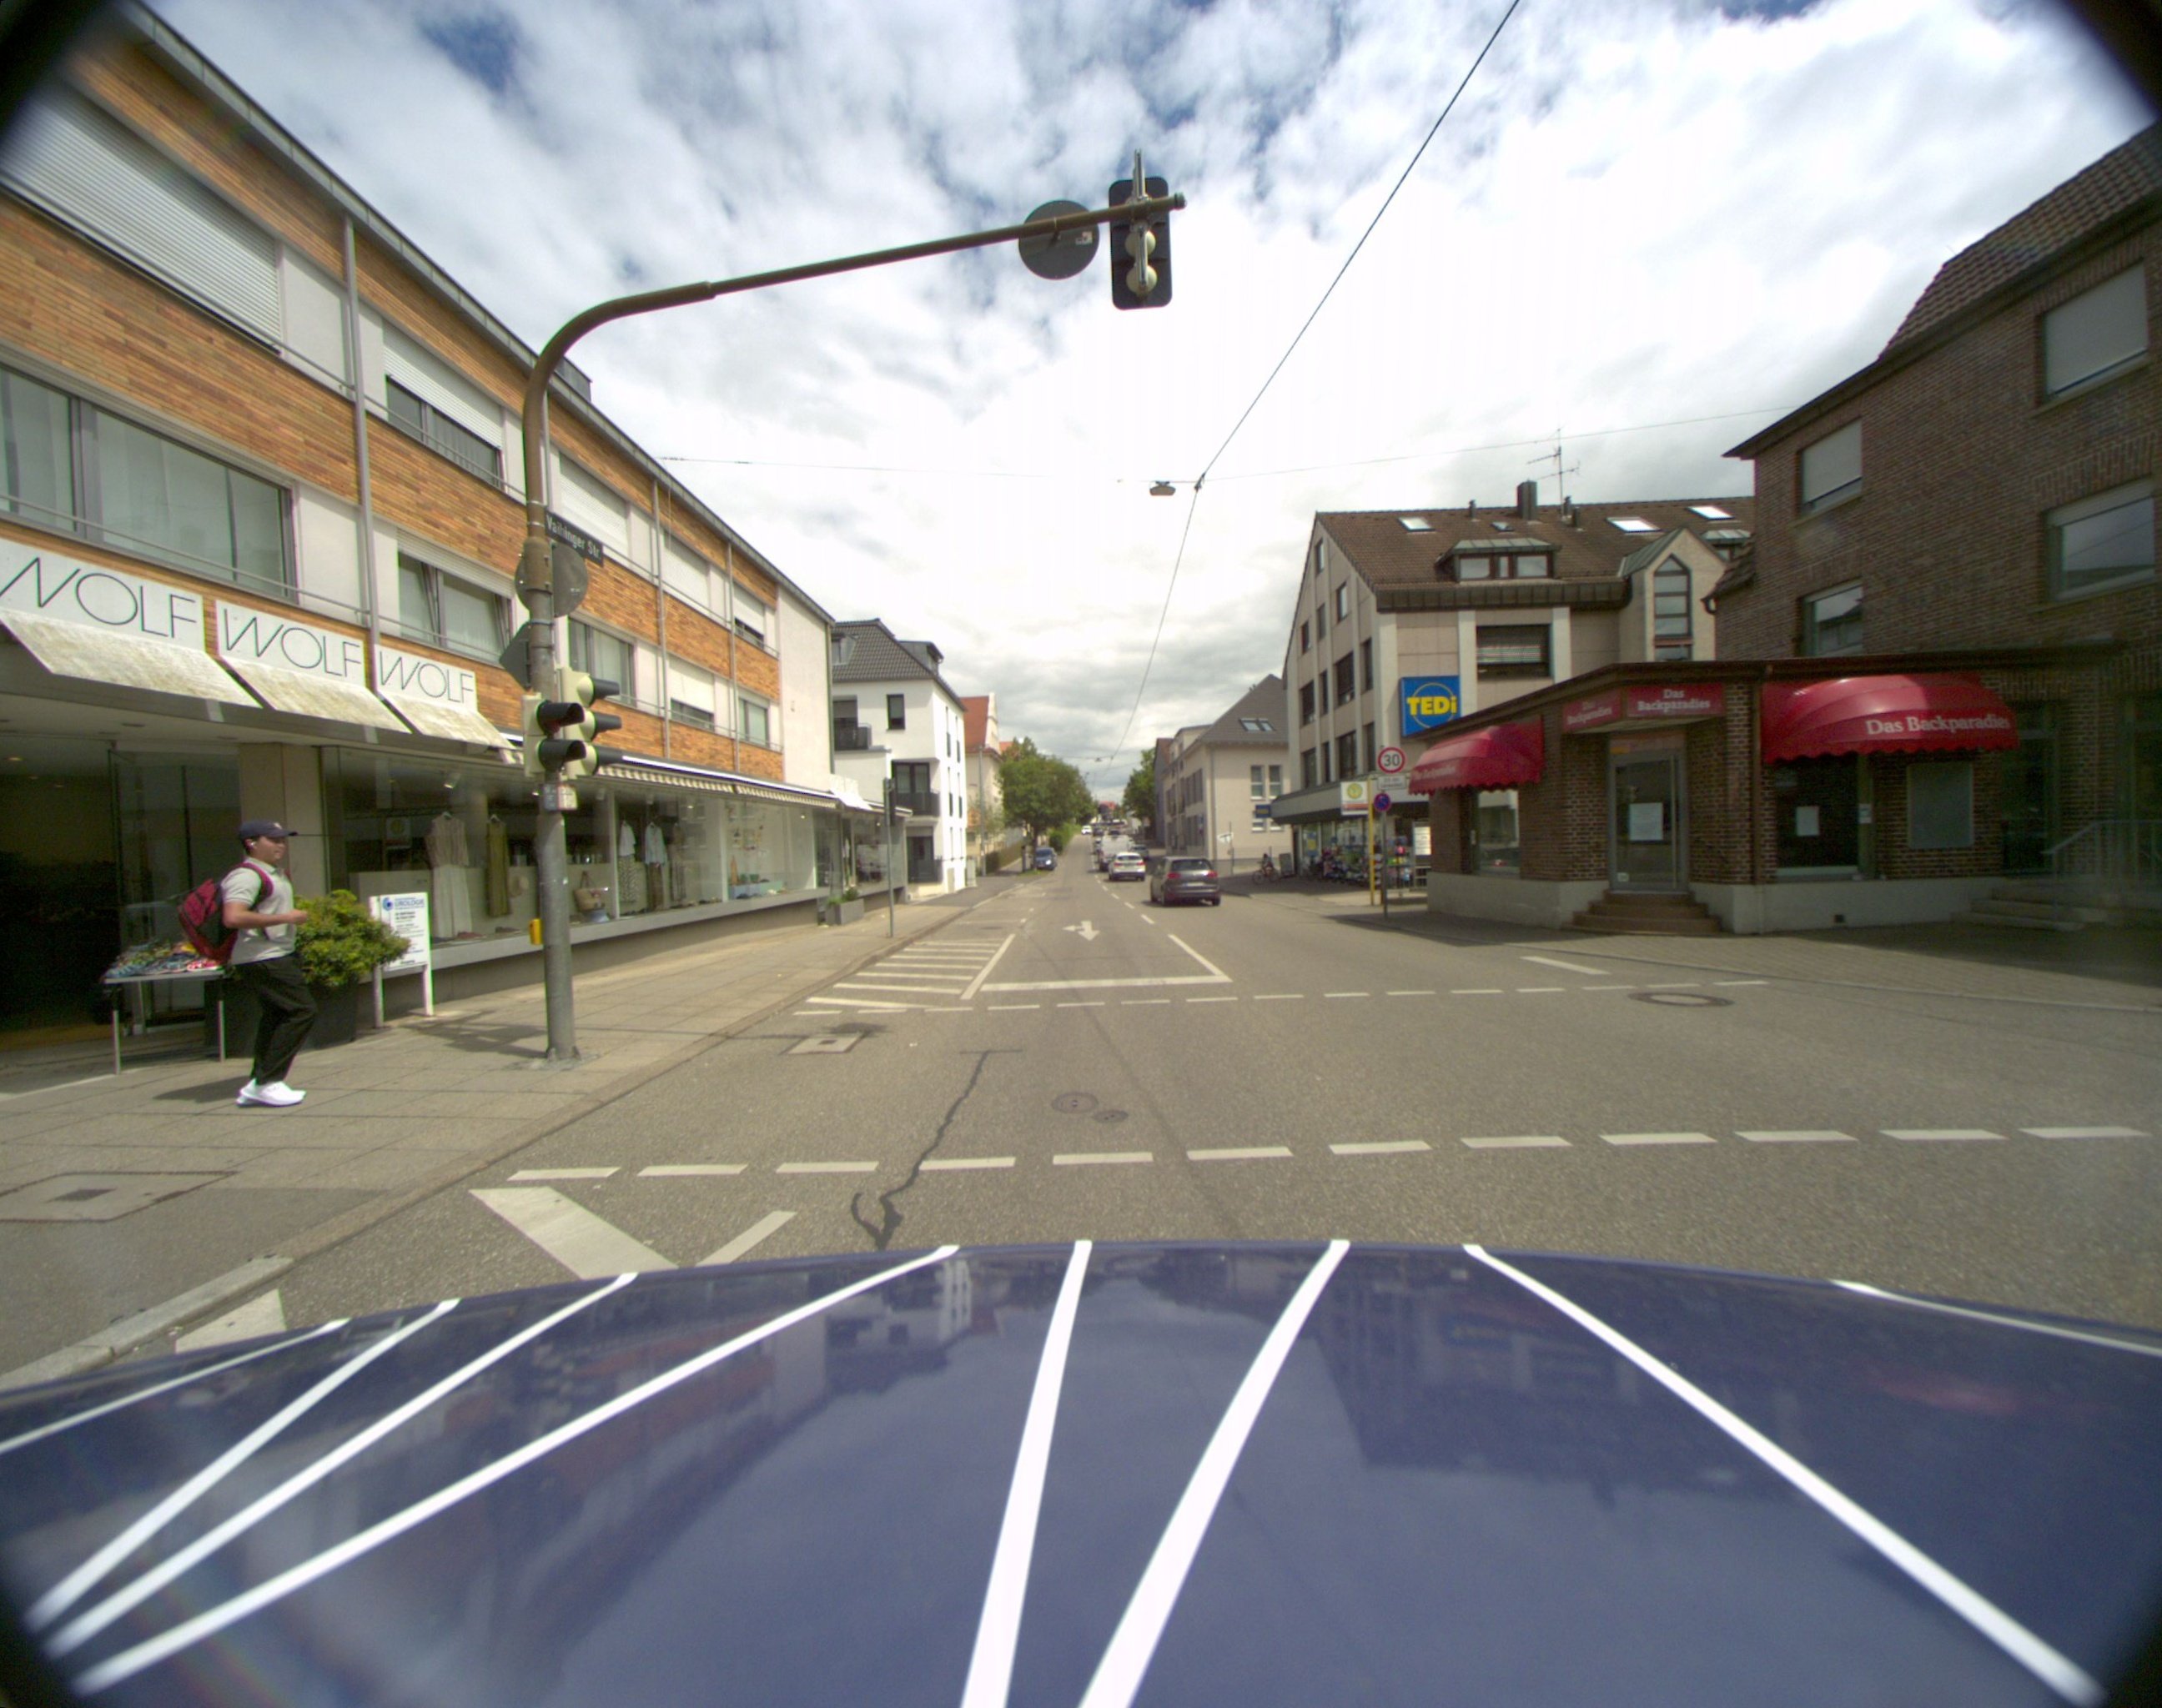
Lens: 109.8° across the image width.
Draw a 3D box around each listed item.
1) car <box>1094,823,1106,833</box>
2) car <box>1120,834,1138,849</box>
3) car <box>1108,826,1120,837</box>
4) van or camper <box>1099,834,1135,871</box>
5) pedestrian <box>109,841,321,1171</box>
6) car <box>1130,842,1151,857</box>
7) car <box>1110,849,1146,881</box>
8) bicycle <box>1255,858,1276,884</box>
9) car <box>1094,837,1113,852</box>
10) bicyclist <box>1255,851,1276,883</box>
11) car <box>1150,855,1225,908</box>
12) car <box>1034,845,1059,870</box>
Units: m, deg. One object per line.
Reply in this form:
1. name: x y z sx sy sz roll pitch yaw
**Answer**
1. car: 3.466 -4.620 136.376 1.946 1.709 4.596 -1 0 -1
2. car: 5.511 -1.480 87.490 1.737 1.480 4.064 -1 4 0
3. car: 5.267 -3.618 120.649 1.673 1.546 3.963 -1 4 0
4. van or camper: 2.543 -0.081 54.997 2.154 2.541 5.437 -1 0 -1
5. pedestrian: -5.225 0.838 4.644 0.614 1.804 0.774 2 0 -31
6. car: 5.436 -0.401 69.434 1.665 1.322 3.473 -1 0 0
7. car: 2.630 0.574 43.231 1.785 1.631 4.219 0 2 0
8. bicycle: 8.339 0.754 34.321 0.444 1.044 1.733 -5 2 0
9. car: 2.458 -1.071 82.544 1.780 1.604 4.118 -1 1 -2
10. bicyclist: 8.336 0.580 34.312 0.669 1.330 0.761 -5 2 0
11. car: 3.409 0.836 25.138 1.794 1.580 4.100 -1 0 -1
12. car: -2.637 0.251 59.189 1.698 1.733 4.158 -2 2 0
